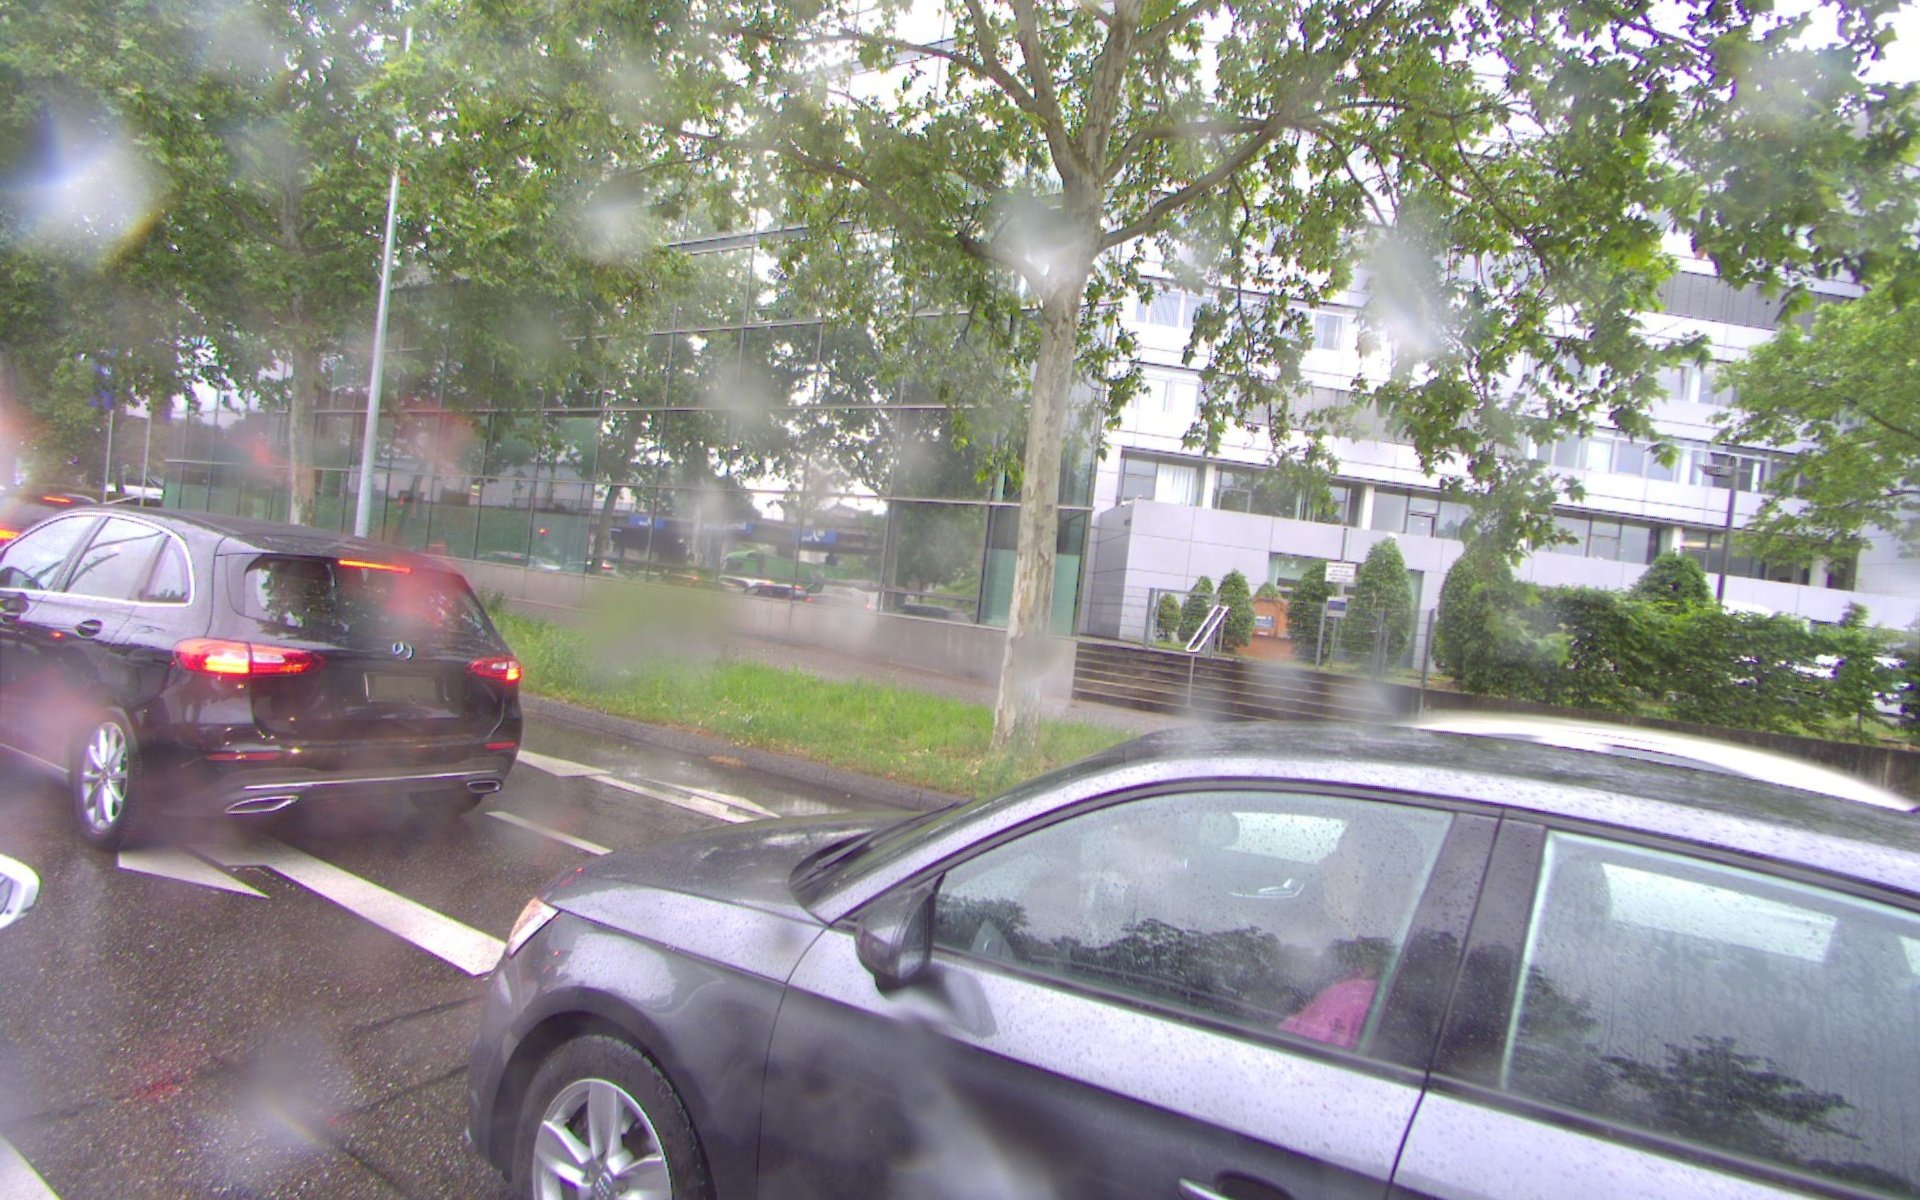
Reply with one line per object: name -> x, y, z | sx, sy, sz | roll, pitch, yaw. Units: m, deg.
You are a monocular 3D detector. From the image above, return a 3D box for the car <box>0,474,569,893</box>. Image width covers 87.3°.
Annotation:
car -> -4.335, 0.241, 5.736 | 3.932, 1.568, 1.712 | 8, 0, 30

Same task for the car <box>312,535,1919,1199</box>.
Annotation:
car -> 0.747, 0.853, 2.242 | 3.932, 1.469, 1.998 | 6, -2, 30

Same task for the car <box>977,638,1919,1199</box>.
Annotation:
car -> 2.447, 1.176, 4.653 | 4.314, 1.447, 1.805 | 6, -1, 32

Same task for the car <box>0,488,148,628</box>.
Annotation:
car -> -14.144, -0.726, 14.884 | 4.120, 1.746, 1.860 | 6, -1, 30
